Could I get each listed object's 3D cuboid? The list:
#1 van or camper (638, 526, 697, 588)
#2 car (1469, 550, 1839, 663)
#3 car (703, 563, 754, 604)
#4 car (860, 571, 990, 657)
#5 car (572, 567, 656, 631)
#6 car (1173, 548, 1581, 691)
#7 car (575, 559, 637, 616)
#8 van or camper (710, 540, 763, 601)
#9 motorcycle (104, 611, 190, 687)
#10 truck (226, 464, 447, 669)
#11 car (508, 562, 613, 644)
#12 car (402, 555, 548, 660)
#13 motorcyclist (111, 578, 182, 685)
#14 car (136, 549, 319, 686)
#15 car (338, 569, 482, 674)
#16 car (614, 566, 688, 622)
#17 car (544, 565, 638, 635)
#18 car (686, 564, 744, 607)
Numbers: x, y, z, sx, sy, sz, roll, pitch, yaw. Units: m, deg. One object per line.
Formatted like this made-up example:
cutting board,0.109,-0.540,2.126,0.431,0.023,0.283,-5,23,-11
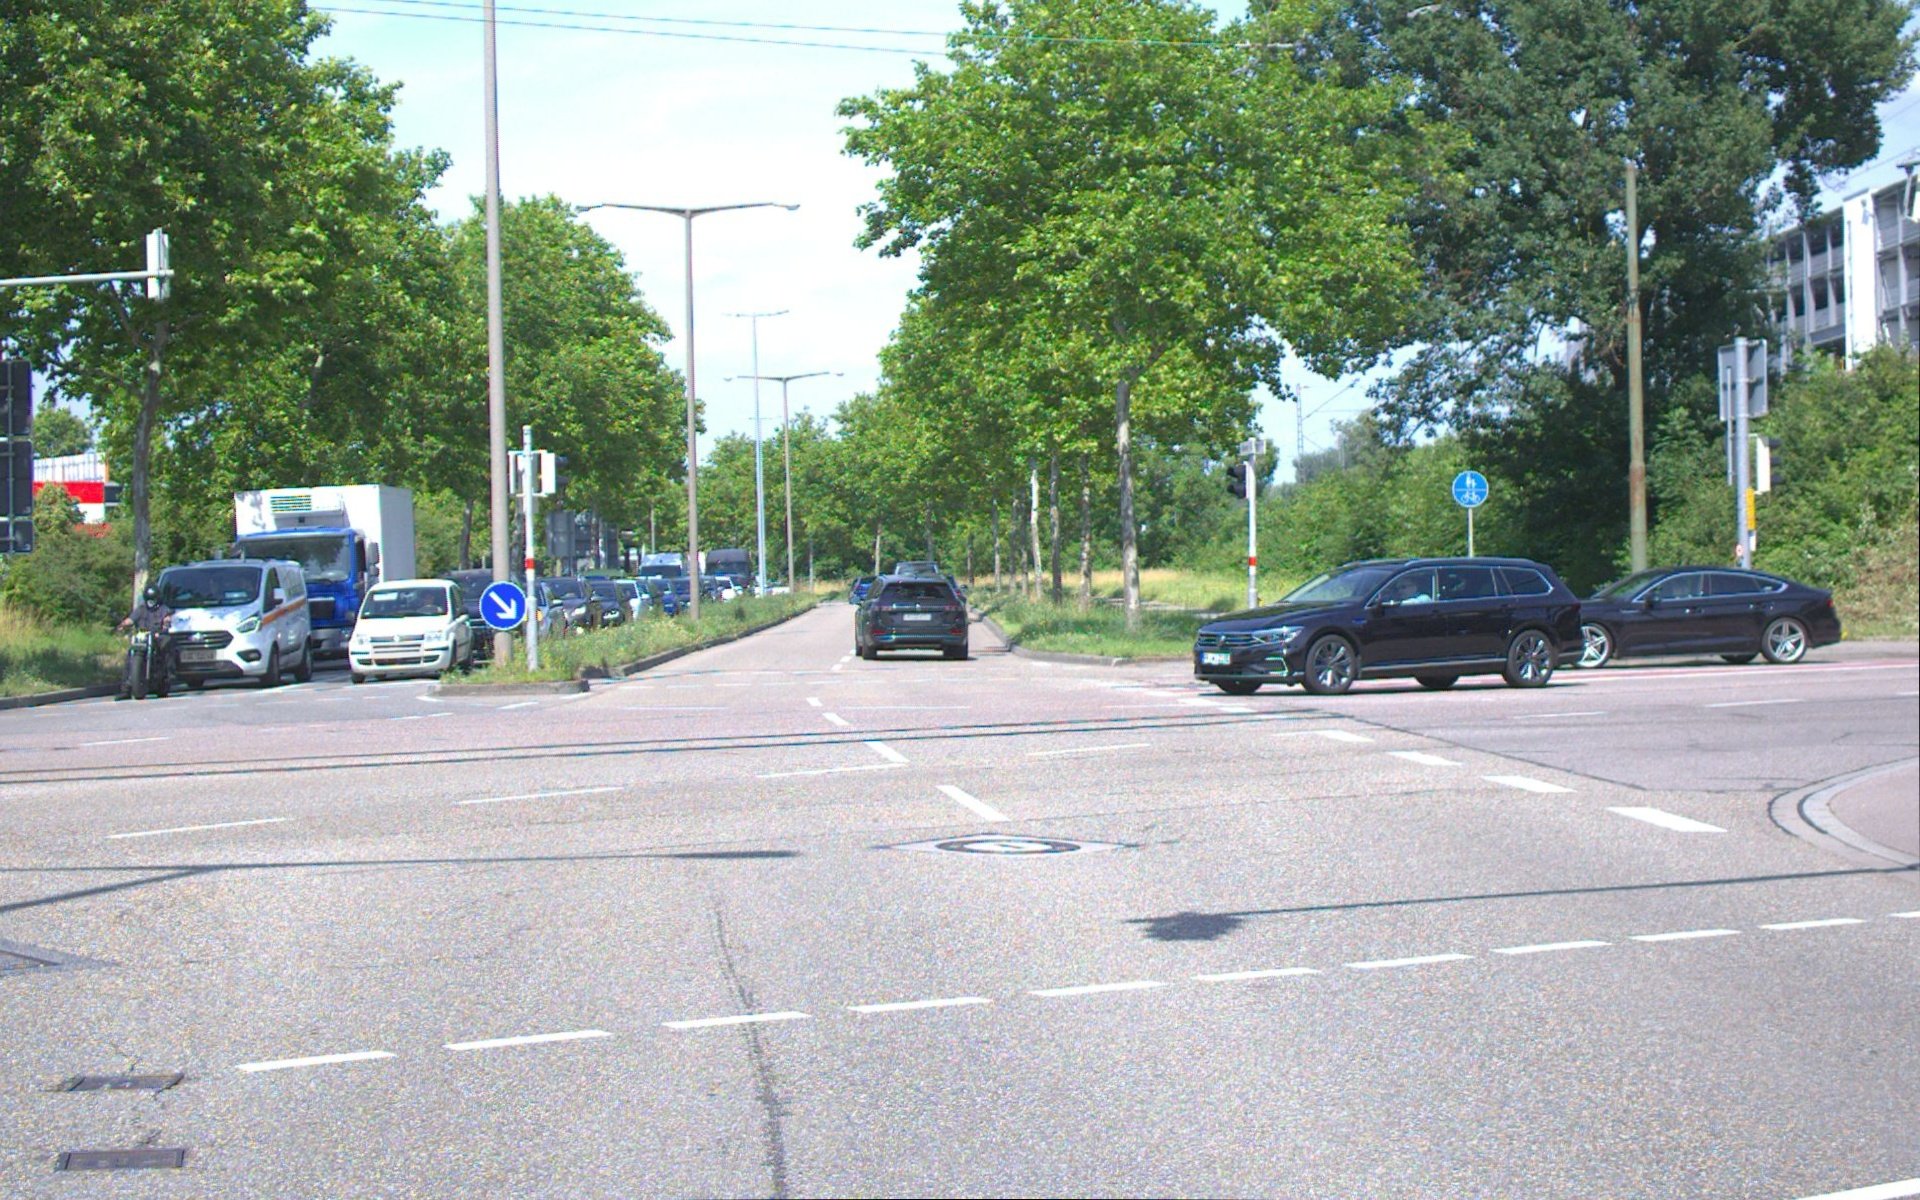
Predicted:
van or camper,-12.559,-1.861,147.887,2.015,2.579,5.517,-2,1,-1
car,9.545,0.071,47.414,4.605,1.458,1.915,-1,1,-12
car,-8.864,-0.646,131.876,1.689,1.505,3.815,-2,1,-1
car,-0.574,0.216,59.952,1.834,1.386,4.264,-1,1,5
car,-8.520,-0.052,84.883,1.689,1.467,3.815,-2,1,-1
car,4.607,0.183,37.833,4.208,1.438,1.790,-1,1,-30
car,-12.221,-0.435,118.917,1.689,1.852,4.036,-2,0,-1
van or camper,-9.128,-1.193,140.721,1.938,2.360,5.398,-2,0,-2
motorcycle,-11.382,0.677,48.168,0.688,0.988,2.217,-1,1,-1
truck,-11.417,-0.653,63.573,2.804,3.459,6.692,-3,1,-1
car,-8.335,0.037,71.972,1.689,1.581,4.240,-2,1,-1
car,-8.193,0.132,58.453,1.820,1.641,4.694,-2,0,-1
motorcyclist,-11.418,0.432,48.259,0.743,1.465,0.987,-1,1,-1
car,-11.264,0.222,53.213,1.976,1.992,5.032,-1,1,-3
car,-8.375,0.305,52.582,1.593,1.472,3.729,-2,1,-1
car,-8.748,-0.181,97.579,1.784,1.484,4.212,-2,1,-2
car,-8.474,-0.020,79.247,1.689,1.468,4.218,-3,1,-1
car,-8.897,-0.541,125.207,1.783,1.454,4.472,-2,1,-1
